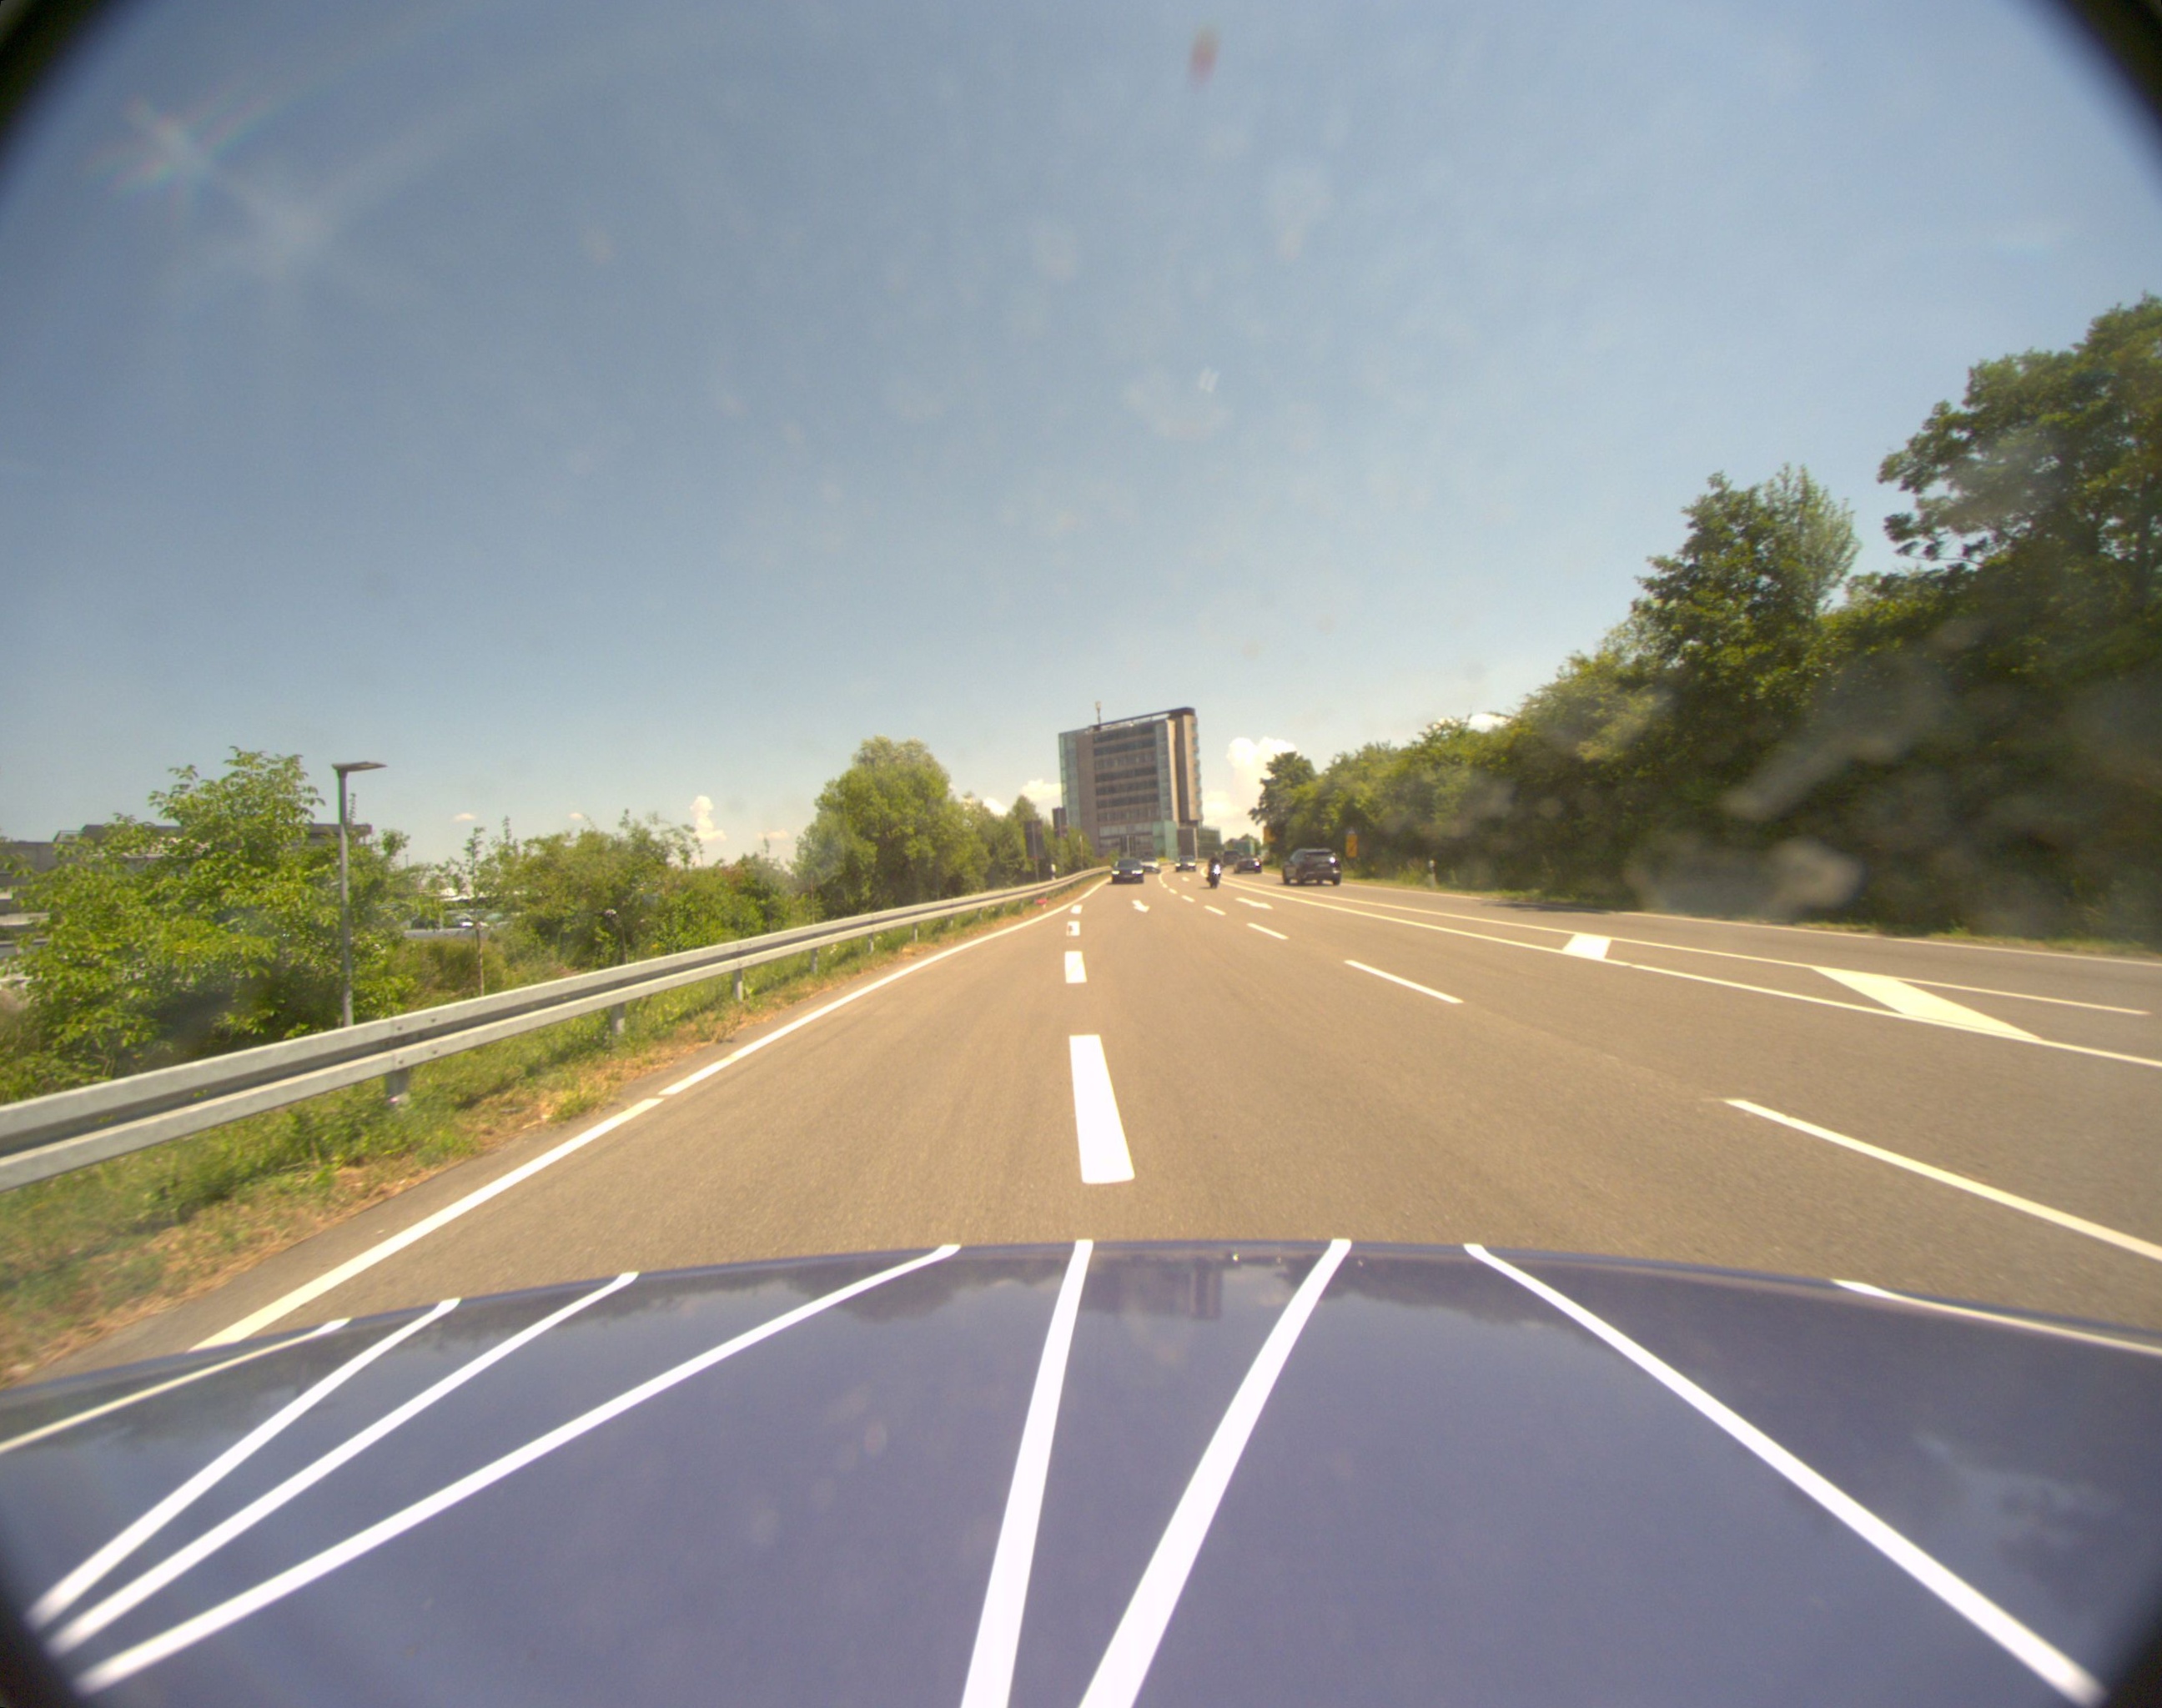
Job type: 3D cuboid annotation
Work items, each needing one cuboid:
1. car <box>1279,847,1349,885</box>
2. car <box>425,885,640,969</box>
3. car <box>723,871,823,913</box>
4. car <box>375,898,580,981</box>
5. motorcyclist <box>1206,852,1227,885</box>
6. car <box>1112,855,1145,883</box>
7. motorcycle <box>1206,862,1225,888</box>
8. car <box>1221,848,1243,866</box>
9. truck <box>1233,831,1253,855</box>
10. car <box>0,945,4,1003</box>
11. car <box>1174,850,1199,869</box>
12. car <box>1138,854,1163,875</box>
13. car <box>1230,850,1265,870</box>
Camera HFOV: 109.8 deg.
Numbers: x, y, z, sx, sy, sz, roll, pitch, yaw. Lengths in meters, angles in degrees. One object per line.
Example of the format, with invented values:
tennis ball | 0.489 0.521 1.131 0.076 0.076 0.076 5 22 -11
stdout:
car | 10.671 0.511 35.137 1.998 1.583 4.683 -2 0 3
car | -17.598 2.300 24.593 5.232 2.244 2.135 -4 -2 -3
car | -17.161 2.111 42.453 4.688 1.956 2.002 -4 -2 6
car | -17.233 2.412 21.847 4.305 1.956 2.001 -4 -2 3
motorcyclist | 6.151 0.649 34.557 0.860 1.479 1.162 -1 0 7
car | 2.741 0.852 44.005 1.779 1.497 4.562 -2 -1 3
motorcycle | 6.077 0.933 34.493 0.733 1.131 2.074 -1 0 7
car | 16.803 0.336 84.823 1.997 1.883 5.106 -2 0 7
truck | 25.082 -1.686 117.797 2.873 3.553 9.438 -2 0 11
car | -31.190 3.331 19.445 1.942 1.559 4.096 -2 0 35
car | 9.548 0.492 68.840 2.116 1.581 4.453 -3 0 8
car | 6.066 0.924 65.806 1.933 1.576 4.183 -4 -3 6
car | 12.453 0.432 57.031 1.821 1.433 4.644 -1 0 4
